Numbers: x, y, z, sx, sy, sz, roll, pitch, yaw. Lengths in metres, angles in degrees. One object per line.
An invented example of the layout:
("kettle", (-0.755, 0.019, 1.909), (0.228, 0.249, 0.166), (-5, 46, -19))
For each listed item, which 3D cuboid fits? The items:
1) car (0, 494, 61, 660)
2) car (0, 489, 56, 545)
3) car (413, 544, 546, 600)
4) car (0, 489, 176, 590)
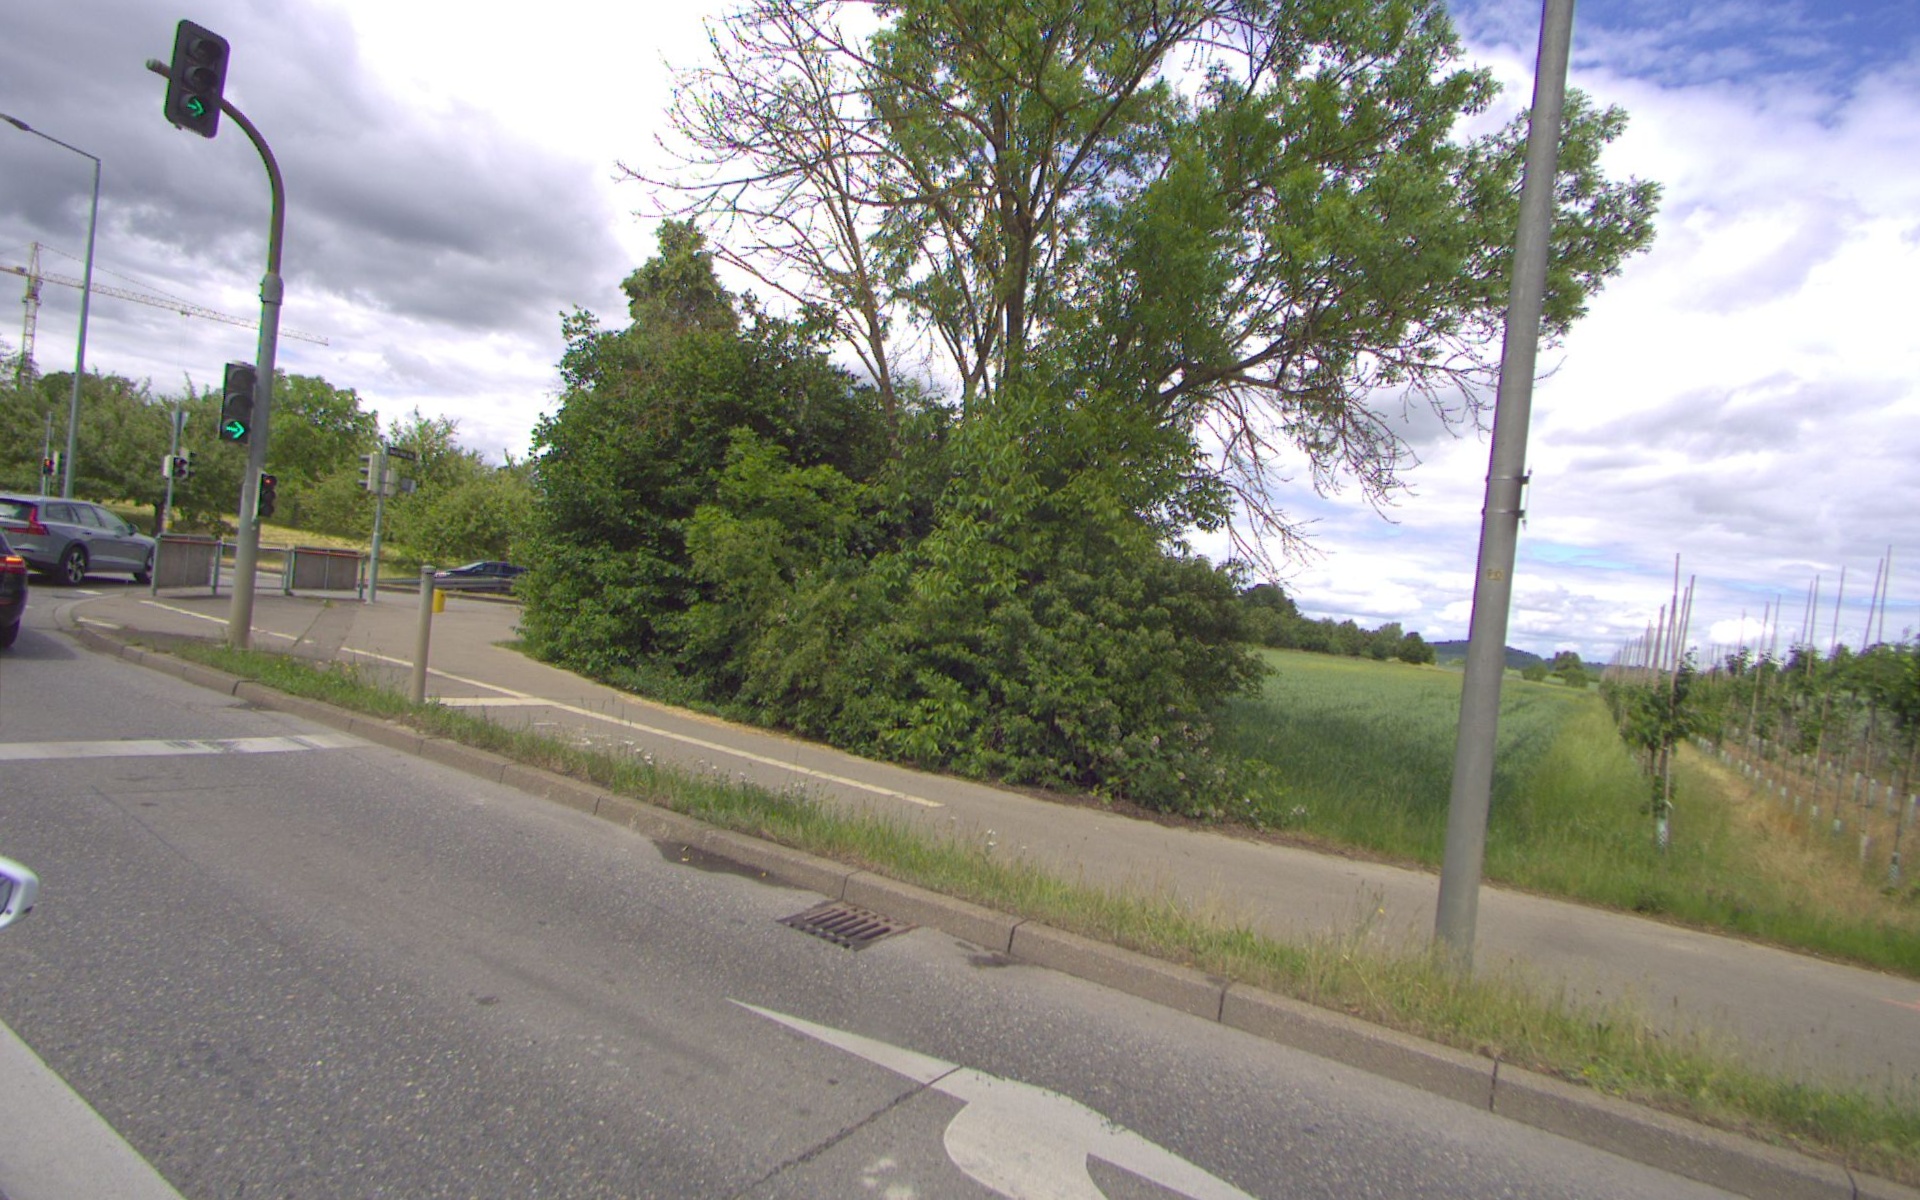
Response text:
("car", (-10.973, -0.489, 10.015), (5.118, 1.459, 1.873), (7, 1, 35))
("car", (-30.320, -2.730, 30.182), (1.967, 1.544, 4.308), (7, 0, 33))
("car", (-19.170, -1.088, 40.281), (1.969, 1.635, 4.304), (7, 0, 36))
("car", (-16.350, -1.111, 18.220), (1.841, 1.537, 4.428), (7, 0, -18))
